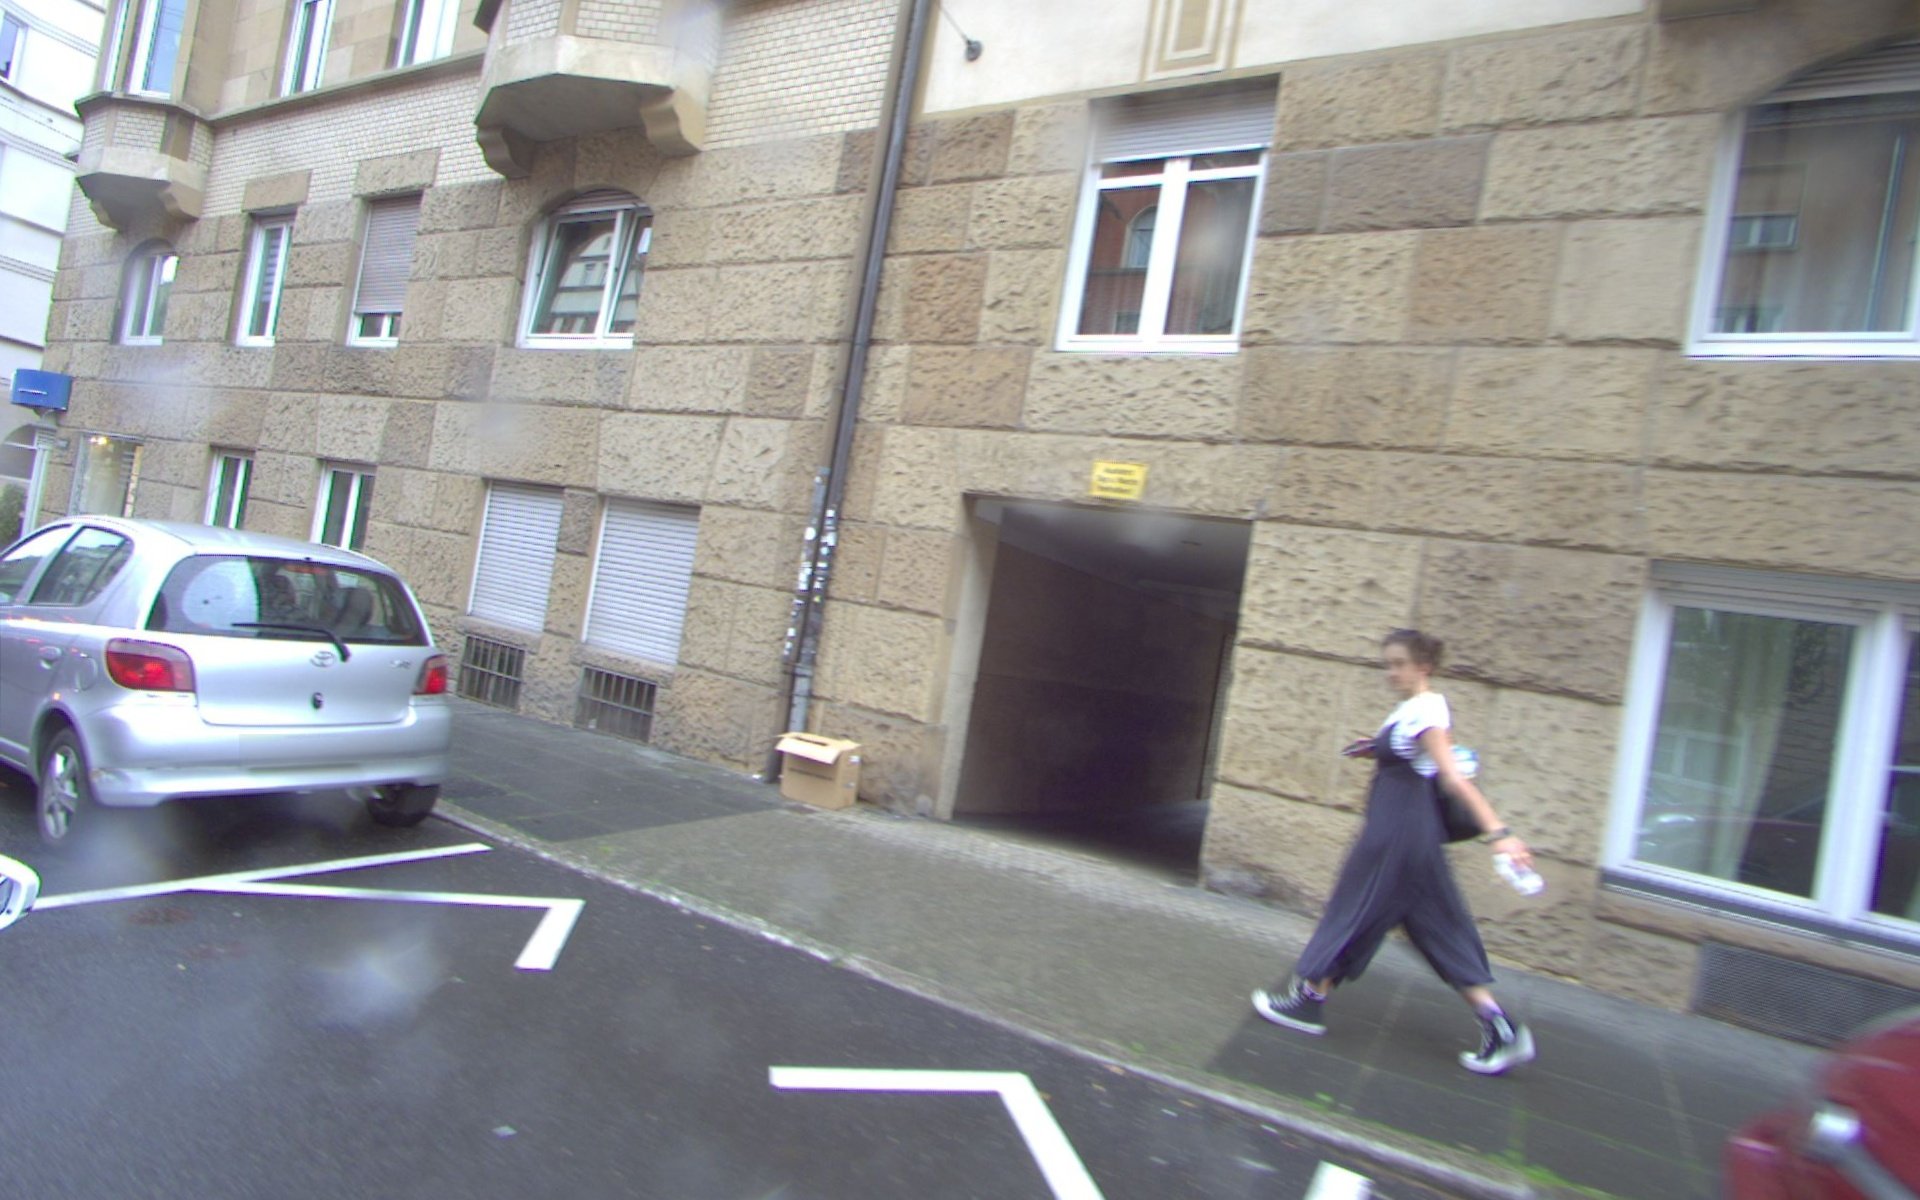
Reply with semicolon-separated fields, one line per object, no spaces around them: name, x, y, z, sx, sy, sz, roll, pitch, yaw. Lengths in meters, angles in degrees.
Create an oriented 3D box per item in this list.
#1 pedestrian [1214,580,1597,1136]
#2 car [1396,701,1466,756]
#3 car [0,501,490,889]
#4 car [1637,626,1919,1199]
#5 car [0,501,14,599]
pedestrian;1.745;0.885;3.949;1.093;1.768;0.743;6;-1;32
car;16.470;4.479;35.104;1.693;1.538;4.102;7;-3;31
car;-4.381;0.323;5.582;3.258;1.485;1.616;7;-1;33
car;3.124;1.124;0.907;3.932;1.617;1.807;7;-2;30
car;-10.627;-0.421;9.366;3.243;1.464;1.646;7;-2;29
